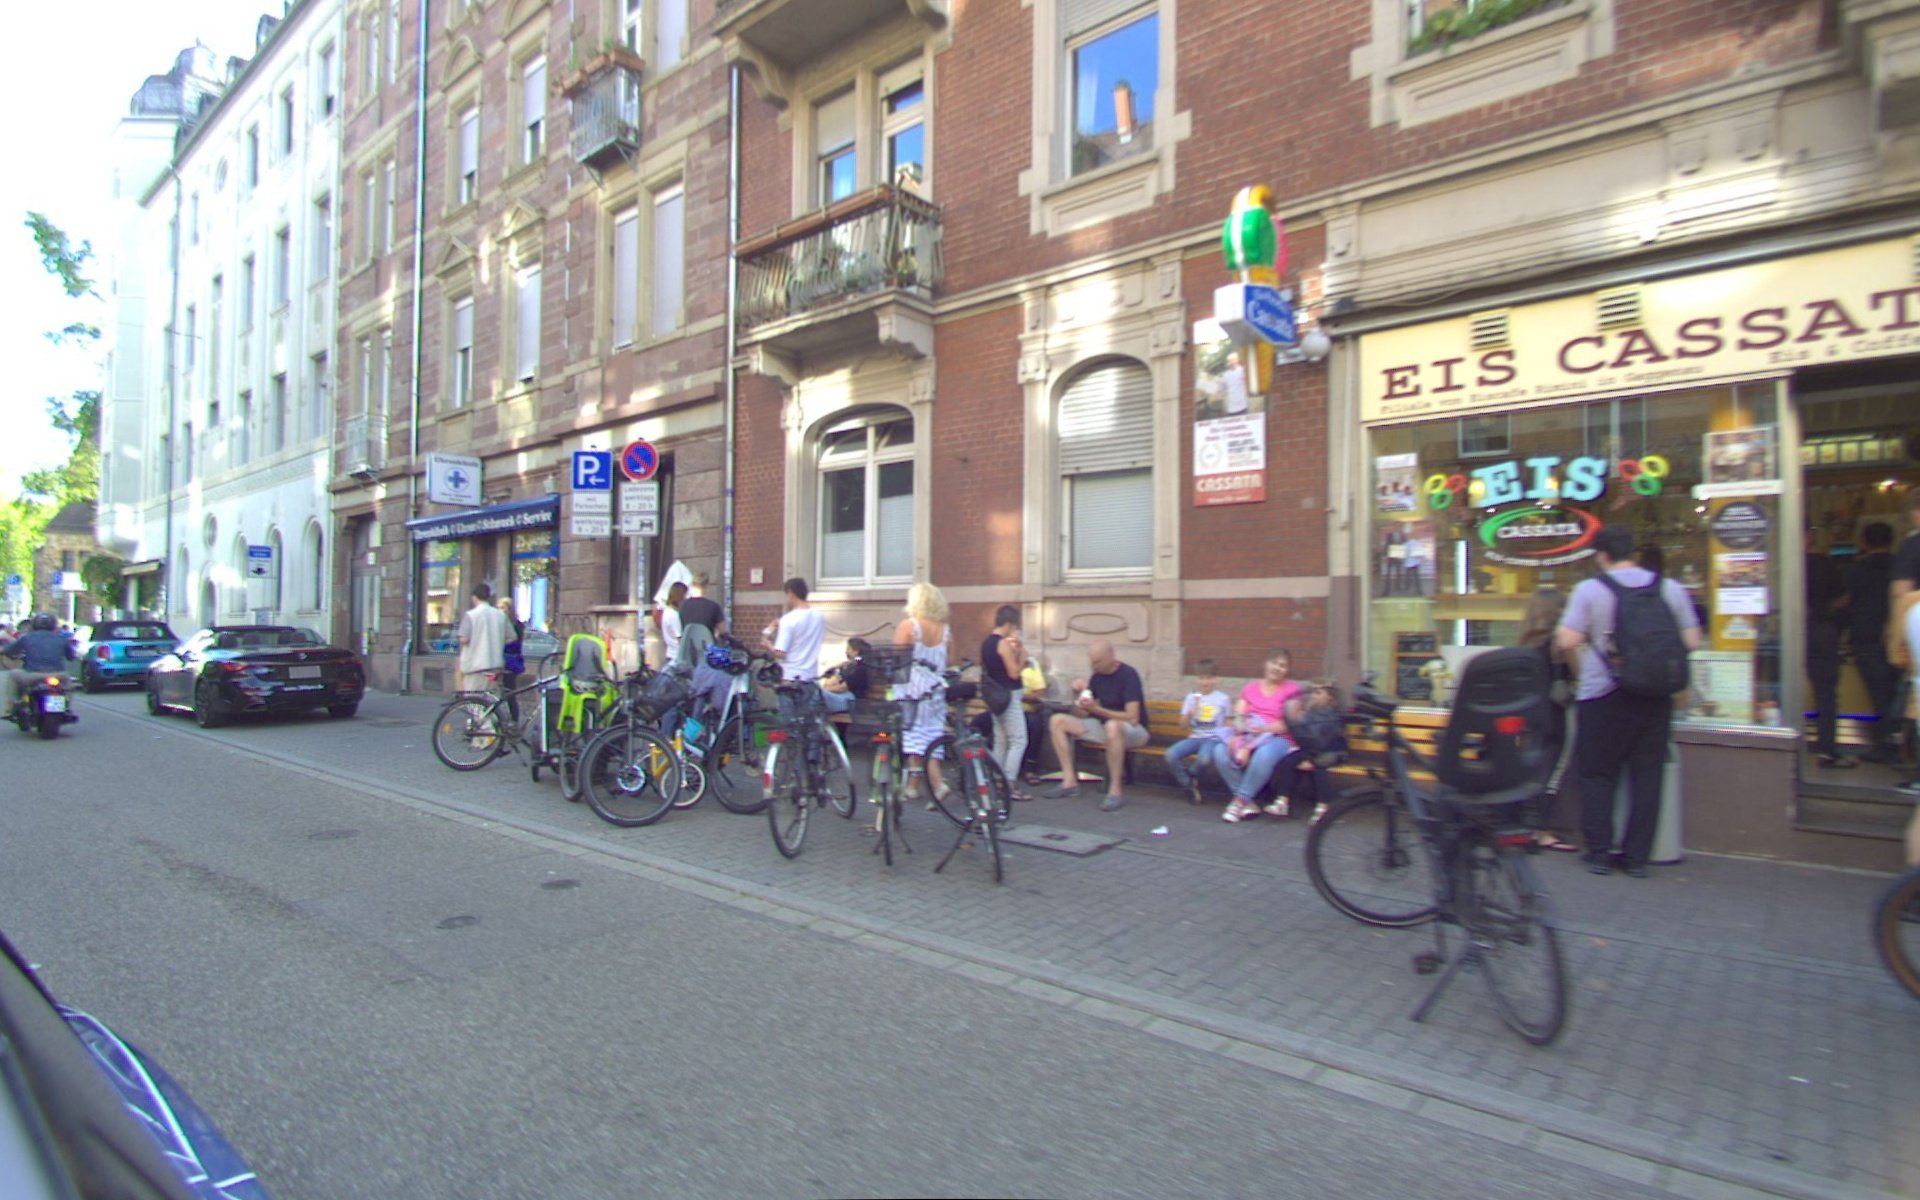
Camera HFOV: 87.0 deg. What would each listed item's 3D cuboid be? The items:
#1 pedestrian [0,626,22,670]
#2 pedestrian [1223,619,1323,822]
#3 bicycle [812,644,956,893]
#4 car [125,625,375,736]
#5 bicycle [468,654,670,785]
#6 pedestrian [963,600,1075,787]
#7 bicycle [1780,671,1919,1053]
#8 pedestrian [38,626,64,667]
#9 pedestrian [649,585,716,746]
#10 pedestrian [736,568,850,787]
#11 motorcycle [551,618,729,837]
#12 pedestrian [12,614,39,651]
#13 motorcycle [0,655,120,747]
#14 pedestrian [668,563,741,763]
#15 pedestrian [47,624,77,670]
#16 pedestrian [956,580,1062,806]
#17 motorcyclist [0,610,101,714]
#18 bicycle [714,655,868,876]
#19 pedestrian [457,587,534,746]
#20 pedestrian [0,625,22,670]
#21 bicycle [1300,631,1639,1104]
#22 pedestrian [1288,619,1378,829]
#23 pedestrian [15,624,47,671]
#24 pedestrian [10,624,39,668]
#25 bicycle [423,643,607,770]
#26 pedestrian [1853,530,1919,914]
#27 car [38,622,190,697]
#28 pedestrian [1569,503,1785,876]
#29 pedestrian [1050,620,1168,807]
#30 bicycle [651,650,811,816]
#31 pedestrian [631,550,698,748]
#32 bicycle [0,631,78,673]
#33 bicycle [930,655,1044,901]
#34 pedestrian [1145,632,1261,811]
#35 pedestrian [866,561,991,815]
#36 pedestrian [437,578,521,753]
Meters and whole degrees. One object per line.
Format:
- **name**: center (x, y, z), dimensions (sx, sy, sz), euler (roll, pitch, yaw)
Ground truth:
- **pedestrian**: center (-30.819, 1.546, 32.431), dimensions (1.073, 1.383, 0.896), euler (0, -1, -41)
- **pedestrian**: center (2.189, 0.798, 7.058), dimensions (0.439, 1.323, 0.711), euler (-1, -1, 37)
- **bicycle**: center (-0.392, 0.896, 6.054), dimensions (0.583, 1.209, 1.788), euler (-1, -1, 5)
- **car**: center (-10.620, 1.061, 14.974), dimensions (5.111, 1.361, 1.793), euler (-1, -1, 40)
- **bicycle**: center (-3.491, 1.037, 9.089), dimensions (1.658, 1.038, 0.410), euler (0, -1, -29)
- **pedestrian**: center (0.490, 0.744, 8.496), dimensions (0.597, 1.481, 0.727), euler (0, -1, -39)
- **bicycle**: center (3.554, 0.830, 2.566), dimensions (0.795, 1.167, 2.275), euler (0, -1, -12)
- **pedestrian**: center (-28.702, 1.451, 31.963), dimensions (0.589, 1.253, 0.694), euler (0, -1, -42)
- **pedestrian**: center (-3.177, 0.721, 11.553), dimensions (0.678, 1.773, 0.668), euler (0, -1, -19)
- **pedestrian**: center (-1.451, 0.631, 8.700), dimensions (0.596, 1.765, 0.947), euler (0, -1, -37)
- **motorcycle**: center (-2.438, 0.841, 7.534), dimensions (0.697, 1.395, 2.029), euler (0, -1, -34)
- **pedestrian**: center (-43.874, 1.528, 47.506), dimensions (0.879, 1.722, 0.834), euler (-1, -1, 41)
- **motorcycle**: center (-11.519, 1.226, 12.764), dimensions (2.493, 1.003, 0.787), euler (-1, -1, 35)
- **pedestrian**: center (-2.535, 0.599, 10.021), dimensions (0.637, 1.906, 0.603), euler (0, -1, -19)
- **pedestrian**: center (-27.615, 1.447, 31.122), dimensions (0.684, 1.383, 0.628), euler (-1, -1, 45)
- **pedestrian**: center (0.374, 0.678, 7.728), dimensions (0.584, 1.629, 0.547), euler (-1, -1, 41)
- **motorcyclist**: center (-11.693, 0.764, 12.875), dimensions (0.801, 1.254, 1.004), euler (-1, -1, 35)
- **bicycle**: center (-0.994, 0.944, 6.297), dimensions (0.583, 1.129, 1.568), euler (-1, -1, 4)
- **pedestrian**: center (-5.372, 0.748, 11.738), dimensions (0.750, 1.773, 0.668), euler (0, -1, -19)
- **pedestrian**: center (-28.933, 1.432, 30.637), dimensions (0.644, 1.359, 0.729), euler (-1, -1, 44)
- **bicycle**: center (1.760, 0.799, 3.787), dimensions (0.521, 1.332, 1.674), euler (-1, -1, 5)
- **pedestrian**: center (2.516, 0.794, 6.808), dimensions (0.372, 1.323, 0.694), euler (-1, -1, 37)
- **pedestrian**: center (-28.145, 1.434, 30.667), dimensions (0.740, 1.383, 0.680), euler (-1, -1, 45)
- **pedestrian**: center (-29.182, 1.432, 31.569), dimensions (0.658, 1.346, 0.740), euler (0, -1, -42)
- **bicycle**: center (-4.176, 0.988, 9.565), dimensions (1.556, 1.125, 0.375), euler (0, -1, -10)
- **pedestrian**: center (4.556, 0.540, 4.496), dimensions (0.579, 1.709, 0.663), euler (-1, -1, 10)
- **car**: center (-17.840, 1.190, 21.296), dimensions (4.006, 1.426, 1.654), euler (-1, -1, 38)
- **pedestrian**: center (3.858, 0.453, 5.513), dimensions (0.658, 1.868, 0.761), euler (-1, -1, 10)
- **pedestrian**: center (1.130, 0.814, 7.662), dimensions (0.605, 1.323, 0.716), euler (-1, -1, 37)
- **bicycle**: center (-1.831, 0.965, 7.901), dimensions (0.570, 1.098, 1.742), euler (0, -1, -36)
- **pedestrian**: center (-3.160, 0.508, 10.811), dimensions (0.634, 2.029, 0.632), euler (0, -1, -21)
- **bicycle**: center (-27.321, 1.521, 29.893), dimensions (0.687, 1.184, 1.848), euler (-1, -1, 42)
- **bicycle**: center (0.200, 0.920, 5.840), dimensions (0.548, 1.129, 1.735), euler (-1, -1, 5)
- **pedestrian**: center (1.777, 0.844, 7.376), dimensions (0.585, 1.206, 0.701), euler (-1, -1, 37)
- **pedestrian**: center (-0.241, 0.615, 7.504), dimensions (0.597, 1.765, 0.727), euler (0, -1, -39)
- **pedestrian**: center (-5.242, 0.688, 11.067), dimensions (0.750, 1.832, 0.668), euler (0, -1, -19)
